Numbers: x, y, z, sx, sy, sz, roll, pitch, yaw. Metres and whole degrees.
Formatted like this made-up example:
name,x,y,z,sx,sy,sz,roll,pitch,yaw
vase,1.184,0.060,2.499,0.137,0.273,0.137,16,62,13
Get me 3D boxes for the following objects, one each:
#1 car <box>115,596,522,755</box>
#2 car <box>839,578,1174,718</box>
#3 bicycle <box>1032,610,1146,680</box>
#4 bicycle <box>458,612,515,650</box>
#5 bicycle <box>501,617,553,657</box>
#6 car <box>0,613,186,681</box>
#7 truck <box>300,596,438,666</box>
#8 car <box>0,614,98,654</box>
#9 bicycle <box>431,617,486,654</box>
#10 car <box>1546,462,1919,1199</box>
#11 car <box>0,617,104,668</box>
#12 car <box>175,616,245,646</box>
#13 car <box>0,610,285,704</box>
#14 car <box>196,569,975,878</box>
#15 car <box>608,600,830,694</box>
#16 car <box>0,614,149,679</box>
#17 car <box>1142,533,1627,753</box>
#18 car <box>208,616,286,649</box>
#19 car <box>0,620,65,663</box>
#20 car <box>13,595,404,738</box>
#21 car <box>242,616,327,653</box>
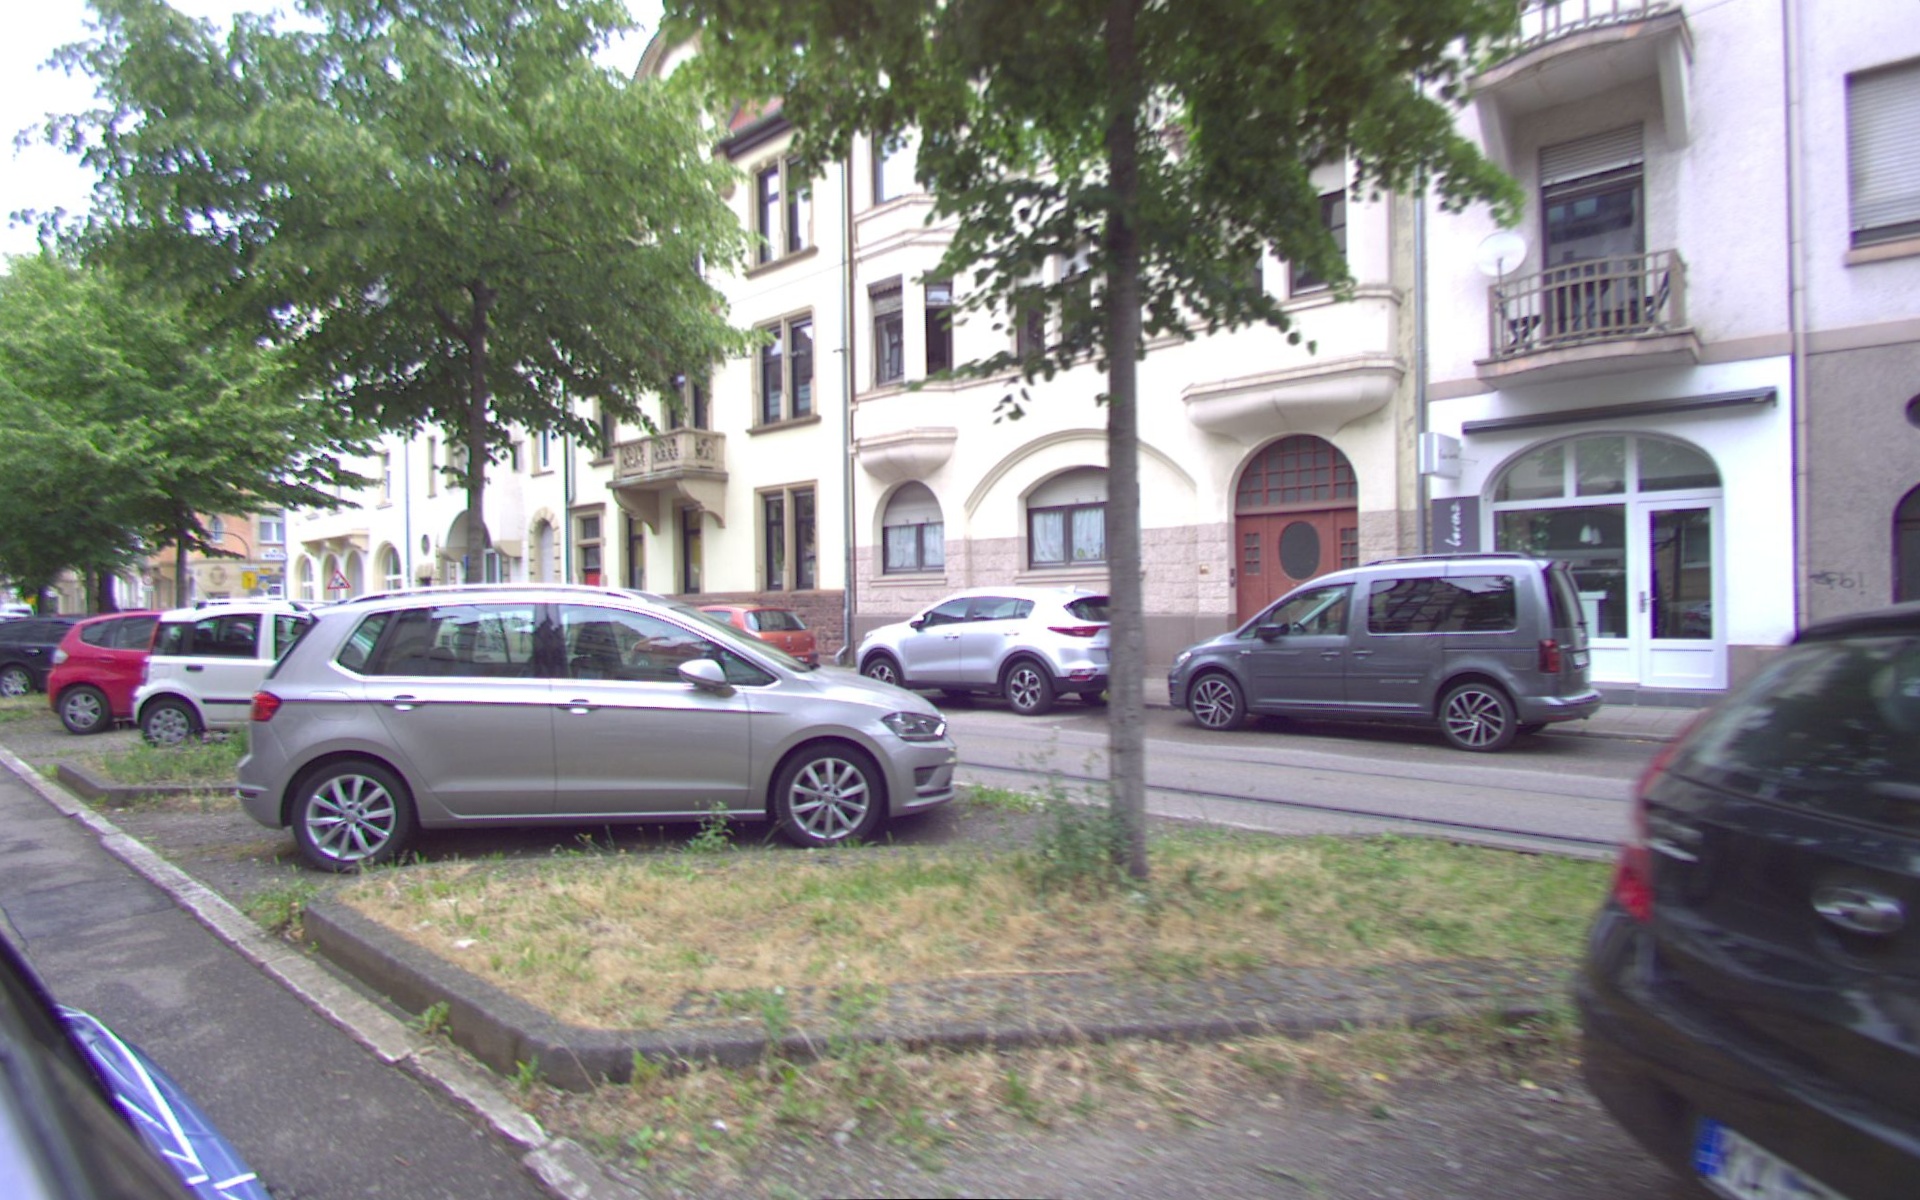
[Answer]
name,x,y,z,sx,sy,sz,roll,pitch,yaw
car,-6.834,0.748,11.103,3.375,1.538,1.693,0,1,-6
car,0.538,0.605,14.237,4.488,1.672,1.832,-1,0,39
bicycle,2.148,0.733,17.010,1.868,1.096,0.647,-1,0,43
bicycle,-15.026,0.978,32.088,1.908,1.135,0.607,-2,2,30
bicycle,-13.046,1.103,30.480,1.915,1.135,0.605,-1,3,41
car,-20.010,1.052,22.836,3.680,1.399,1.792,-1,-2,-5
truck,-18.034,0.901,30.716,2.121,1.870,6.066,-1,0,-45
car,-35.931,1.325,38.889,3.931,1.426,1.904,-1,-2,-28
bicycle,-16.587,1.186,33.436,1.908,1.135,0.607,-2,2,30
car,3.418,0.491,1.590,3.940,1.496,1.777,-1,0,-3
car,-28.297,1.298,30.080,3.935,1.426,1.902,-1,-2,-10
car,-31.860,1.302,42.979,3.377,1.185,1.618,-1,0,39
car,-15.140,0.997,18.300,4.540,1.477,1.887,-1,0,-3
car,-2.079,0.638,6.438,4.142,1.621,1.727,0,1,-6
car,-4.540,0.811,18.768,4.190,1.534,1.833,-1,0,39
car,-22.783,1.156,24.993,3.939,1.478,1.900,-1,-2,-5
car,4.355,0.395,10.840,4.430,1.885,1.831,-1,0,42
car,-27.664,1.253,39.260,3.377,1.185,1.618,-1,0,39
car,-33.431,1.456,34.531,3.935,1.426,1.902,-1,-2,-10
car,-9.658,0.803,13.250,3.756,1.538,1.677,-3,1,-4
car,-24.152,1.212,36.166,3.377,1.185,1.618,-1,0,39
